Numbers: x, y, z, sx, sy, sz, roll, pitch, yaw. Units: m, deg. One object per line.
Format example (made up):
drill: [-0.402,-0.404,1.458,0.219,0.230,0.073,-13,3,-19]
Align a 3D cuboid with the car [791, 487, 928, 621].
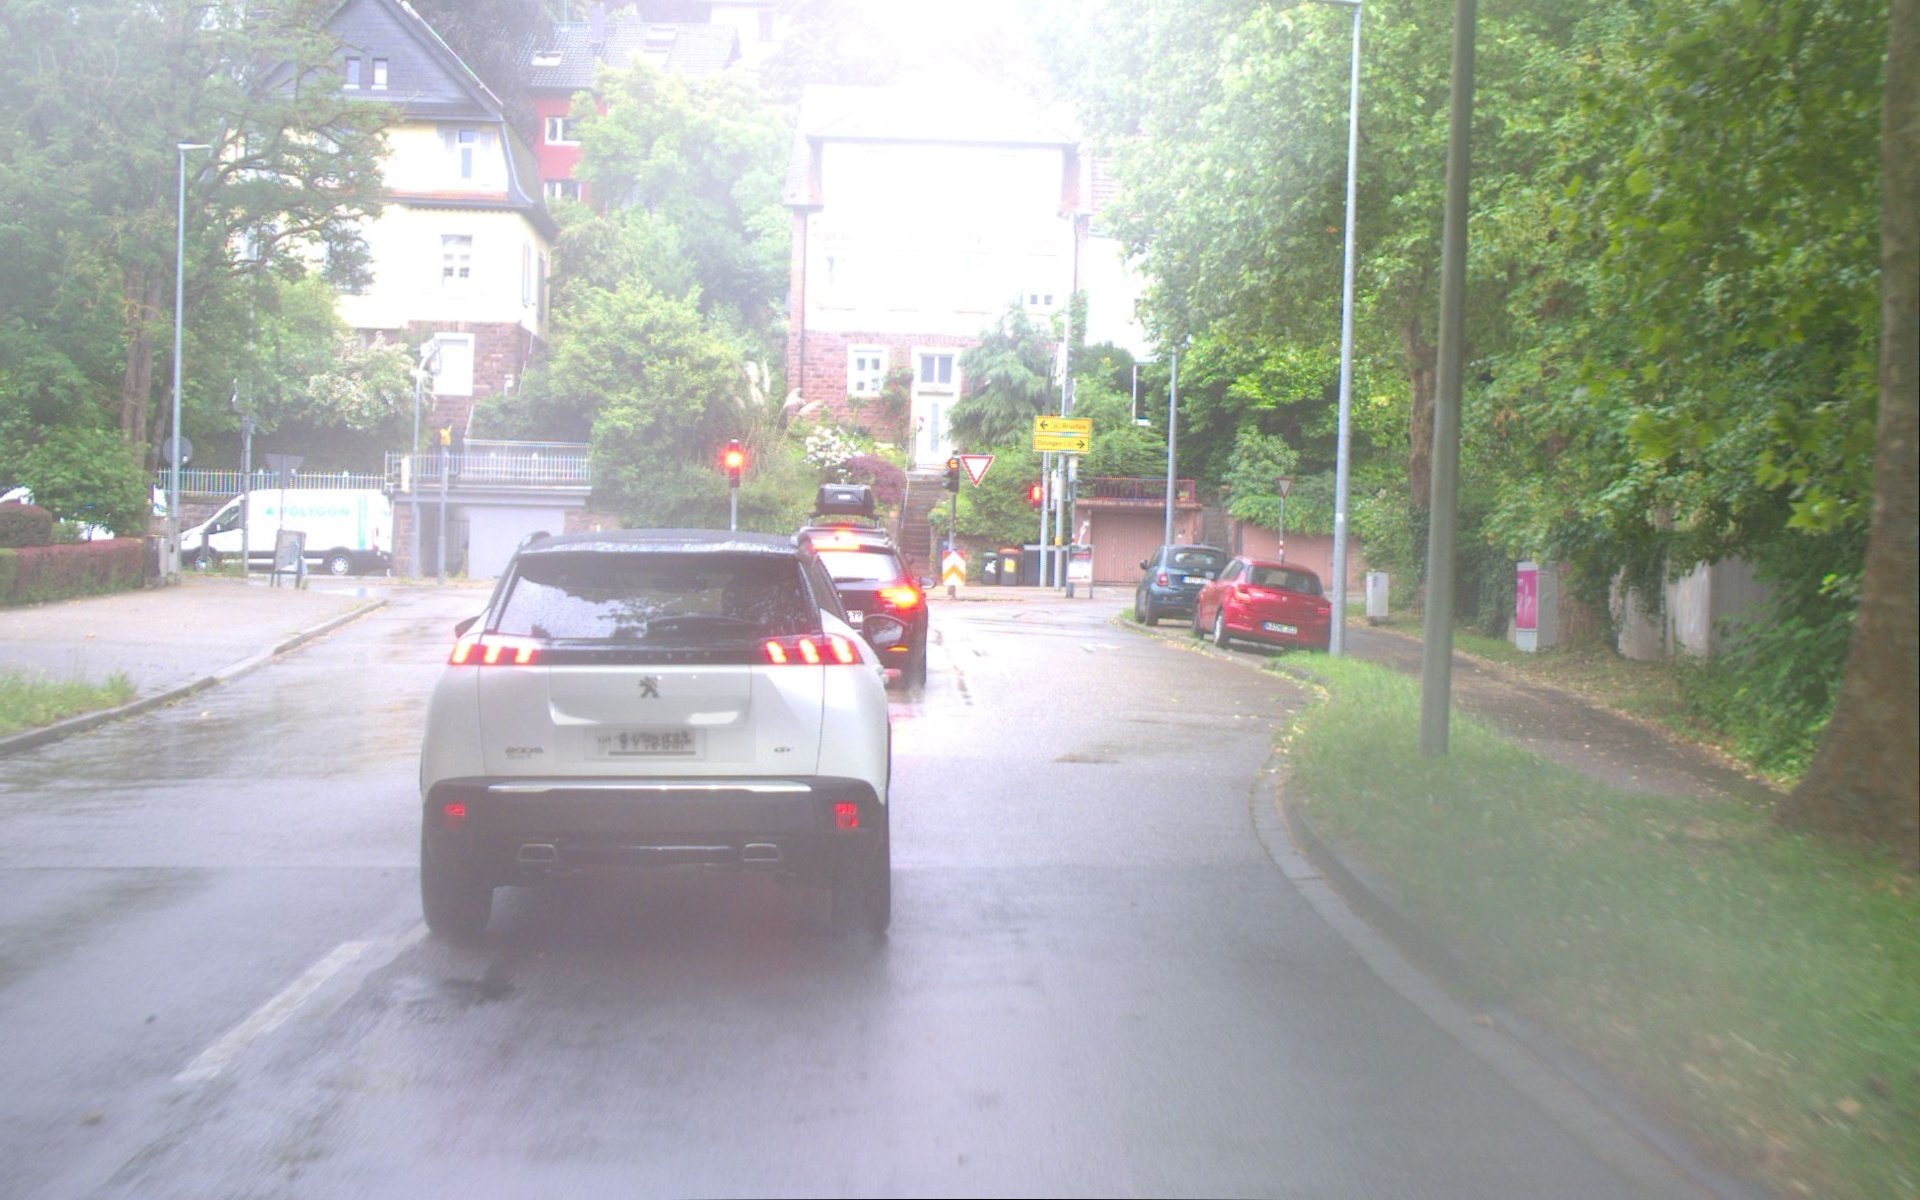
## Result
car: [-1.467,-0.694,48.610,1.760,1.705,4.602,3,2,-3]

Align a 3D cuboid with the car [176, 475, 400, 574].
car: [-18.617,-2.078,95.411,5.660,2.485,2.316,2,0,0]

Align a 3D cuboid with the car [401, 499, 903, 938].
car: [-1.144,0.371,14.306,1.752,1.530,4.368,1,1,-2]

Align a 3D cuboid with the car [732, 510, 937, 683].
car: [-1.234,-0.092,34.751,1.831,1.451,4.659,4,2,-1]

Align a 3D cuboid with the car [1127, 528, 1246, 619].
car: [4.130,-0.507,63.151,1.749,1.486,3.600,4,1,-2]

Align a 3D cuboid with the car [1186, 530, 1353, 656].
car: [4.786,-0.139,53.578,1.819,1.512,3.744,9,2,-4]

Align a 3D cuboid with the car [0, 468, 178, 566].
car: [-24.838,-2.317,95.555,5.563,2.485,2.316,2,0,0]
